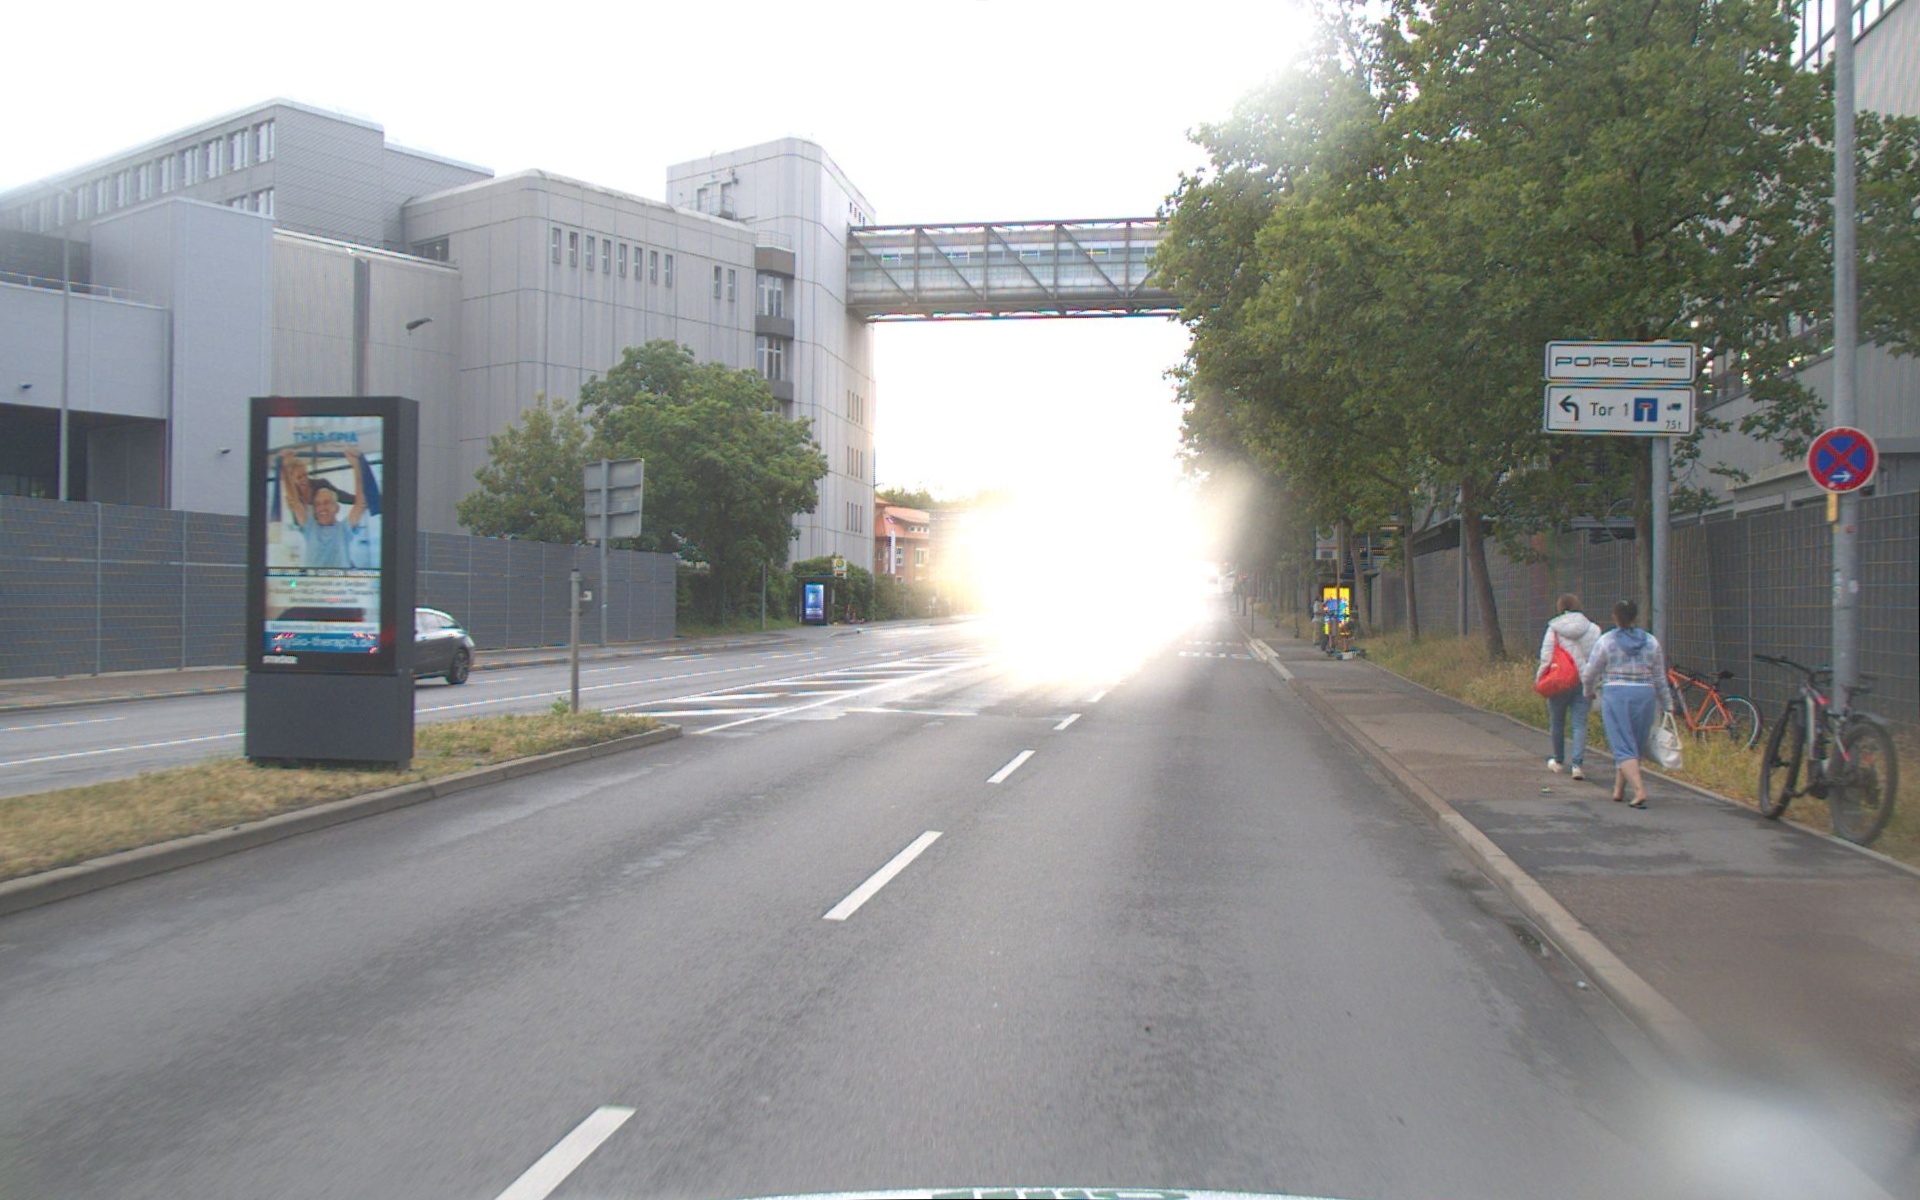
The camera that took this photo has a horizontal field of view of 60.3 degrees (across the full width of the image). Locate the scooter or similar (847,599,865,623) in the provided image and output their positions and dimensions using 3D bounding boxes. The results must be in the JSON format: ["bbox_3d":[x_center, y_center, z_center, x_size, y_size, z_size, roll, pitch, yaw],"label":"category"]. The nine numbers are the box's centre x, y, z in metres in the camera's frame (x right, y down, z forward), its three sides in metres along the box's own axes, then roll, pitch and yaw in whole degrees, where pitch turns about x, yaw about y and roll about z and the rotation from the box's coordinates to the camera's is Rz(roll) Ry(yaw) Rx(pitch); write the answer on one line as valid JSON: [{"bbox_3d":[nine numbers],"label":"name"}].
[{"bbox_3d":[-5.751,0.605,91.441,0.487,1.274,1.923,0,0,13],"label":"scooter or similar"}]

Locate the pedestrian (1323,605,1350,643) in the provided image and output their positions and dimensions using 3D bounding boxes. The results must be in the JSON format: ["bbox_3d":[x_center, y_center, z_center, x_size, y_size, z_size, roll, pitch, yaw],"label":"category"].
[{"bbox_3d":[13.718,0.870,60.281,0.930,1.340,0.686,0,0,15],"label":"pedestrian"}]

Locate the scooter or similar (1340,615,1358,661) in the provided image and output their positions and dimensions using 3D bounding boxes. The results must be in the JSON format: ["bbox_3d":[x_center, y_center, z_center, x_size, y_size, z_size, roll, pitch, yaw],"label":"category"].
[{"bbox_3d":[10.623,1.031,45.168,0.380,1.248,1.074,0,0,9],"label":"scooter or similar"}]

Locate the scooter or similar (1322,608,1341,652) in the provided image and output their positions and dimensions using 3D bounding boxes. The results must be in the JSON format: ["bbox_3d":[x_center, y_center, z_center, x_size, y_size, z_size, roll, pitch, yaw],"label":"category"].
[{"bbox_3d":[11.395,0.921,50.778,0.465,1.315,1.435,0,0,9],"label":"scooter or similar"}]

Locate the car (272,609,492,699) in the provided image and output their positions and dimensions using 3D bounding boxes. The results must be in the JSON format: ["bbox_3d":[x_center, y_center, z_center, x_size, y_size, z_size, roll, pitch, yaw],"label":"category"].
[{"bbox_3d":[-10.156,0.898,29.464,1.745,1.409,4.550,-2,0,9],"label":"car"}]

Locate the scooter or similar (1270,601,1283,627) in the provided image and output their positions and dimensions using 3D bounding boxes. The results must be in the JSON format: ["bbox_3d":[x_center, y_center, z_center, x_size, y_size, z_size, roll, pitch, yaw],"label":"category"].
[{"bbox_3d":[17.347,0.758,90.603,0.596,1.390,1.923,0,0,13],"label":"scooter or similar"}]

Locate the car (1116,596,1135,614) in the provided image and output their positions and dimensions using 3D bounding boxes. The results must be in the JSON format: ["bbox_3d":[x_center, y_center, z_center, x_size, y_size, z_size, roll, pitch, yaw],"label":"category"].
[{"bbox_3d":[17.229,0.516,172.604,1.951,1.803,4.002,0,0,5],"label":"car"}]

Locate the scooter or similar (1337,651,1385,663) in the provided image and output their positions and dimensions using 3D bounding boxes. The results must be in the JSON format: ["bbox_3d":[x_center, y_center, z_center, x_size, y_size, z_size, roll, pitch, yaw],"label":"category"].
[{"bbox_3d":[10.602,1.512,43.759,0.641,0.251,1.519,0,0,-13],"label":"scooter or similar"}]

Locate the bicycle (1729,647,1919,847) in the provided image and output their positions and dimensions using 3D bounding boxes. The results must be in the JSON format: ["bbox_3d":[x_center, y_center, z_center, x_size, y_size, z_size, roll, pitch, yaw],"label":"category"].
[{"bbox_3d":[5.639,0.908,10.885,0.334,1.138,1.974,0,0,3],"label":"bicycle"}]

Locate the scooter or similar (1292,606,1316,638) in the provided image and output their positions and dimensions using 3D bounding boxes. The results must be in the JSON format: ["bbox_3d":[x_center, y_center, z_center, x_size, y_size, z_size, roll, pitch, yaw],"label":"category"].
[{"bbox_3d":[14.190,0.898,68.226,0.684,1.266,1.921,0,0,20],"label":"scooter or similar"}]

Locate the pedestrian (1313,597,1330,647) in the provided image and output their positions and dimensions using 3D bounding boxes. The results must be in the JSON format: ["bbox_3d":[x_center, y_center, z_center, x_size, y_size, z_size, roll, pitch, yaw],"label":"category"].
[{"bbox_3d":[12.356,0.732,56.534,0.471,1.696,0.662,0,0,6],"label":"pedestrian"}]

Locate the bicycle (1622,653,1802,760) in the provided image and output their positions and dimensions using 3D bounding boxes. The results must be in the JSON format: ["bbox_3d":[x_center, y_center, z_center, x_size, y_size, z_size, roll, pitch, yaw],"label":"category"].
[{"bbox_3d":[7.604,1.055,16.794,0.506,0.970,1.684,0,0,-31],"label":"bicycle"}]

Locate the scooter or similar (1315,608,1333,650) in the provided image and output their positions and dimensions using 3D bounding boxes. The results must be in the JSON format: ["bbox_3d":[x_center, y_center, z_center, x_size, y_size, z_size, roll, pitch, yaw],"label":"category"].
[{"bbox_3d":[11.682,0.913,53.085,0.492,1.315,1.435,0,0,9],"label":"scooter or similar"}]

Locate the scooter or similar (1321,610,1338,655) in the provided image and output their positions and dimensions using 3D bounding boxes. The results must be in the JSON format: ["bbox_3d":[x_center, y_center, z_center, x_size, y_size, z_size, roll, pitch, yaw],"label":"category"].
[{"bbox_3d":[10.838,0.939,48.520,0.424,1.292,1.195,0,0,9],"label":"scooter or similar"}]

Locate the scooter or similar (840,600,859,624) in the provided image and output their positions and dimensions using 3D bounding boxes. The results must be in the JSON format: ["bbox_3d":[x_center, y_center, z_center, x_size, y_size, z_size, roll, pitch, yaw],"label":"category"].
[{"bbox_3d":[-5.966,0.631,89.452,0.513,1.274,1.801,0,0,13],"label":"scooter or similar"}]

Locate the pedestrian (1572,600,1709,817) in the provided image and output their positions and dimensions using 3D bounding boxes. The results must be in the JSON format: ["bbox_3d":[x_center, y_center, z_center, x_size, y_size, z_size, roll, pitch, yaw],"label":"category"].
[{"bbox_3d":[5.050,0.775,12.325,0.813,1.547,0.842,0,0,13],"label":"pedestrian"}]

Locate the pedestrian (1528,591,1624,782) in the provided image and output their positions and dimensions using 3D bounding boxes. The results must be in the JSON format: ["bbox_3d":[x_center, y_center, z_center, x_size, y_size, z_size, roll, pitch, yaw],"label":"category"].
[{"bbox_3d":[5.422,0.736,14.591,0.694,1.620,0.841,0,0,13],"label":"pedestrian"}]

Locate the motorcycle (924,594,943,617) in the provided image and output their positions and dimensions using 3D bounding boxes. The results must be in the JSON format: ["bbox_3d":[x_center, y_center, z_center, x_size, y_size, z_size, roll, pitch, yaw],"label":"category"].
[{"bbox_3d":[-1.877,0.397,118.559,0.938,1.583,3.302,0,0,6],"label":"motorcycle"}]

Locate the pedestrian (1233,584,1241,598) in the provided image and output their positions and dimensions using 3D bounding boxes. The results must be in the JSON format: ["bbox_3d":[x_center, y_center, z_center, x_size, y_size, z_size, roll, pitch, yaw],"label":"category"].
[{"bbox_3d":[41.897,-1.339,250.328,1.035,2.049,1.151,0,0,20],"label":"pedestrian"}]

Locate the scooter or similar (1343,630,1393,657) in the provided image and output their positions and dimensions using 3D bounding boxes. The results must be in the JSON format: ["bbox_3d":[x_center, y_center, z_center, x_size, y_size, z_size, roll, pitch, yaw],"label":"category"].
[{"bbox_3d":[11.810,1.245,47.918,0.643,0.726,1.514,0,0,-22],"label":"scooter or similar"}]

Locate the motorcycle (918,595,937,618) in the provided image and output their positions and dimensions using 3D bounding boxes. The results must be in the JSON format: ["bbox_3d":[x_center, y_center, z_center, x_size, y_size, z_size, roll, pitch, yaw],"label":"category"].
[{"bbox_3d":[-2.266,0.431,114.575,0.894,1.559,3.302,0,0,7],"label":"motorcycle"}]

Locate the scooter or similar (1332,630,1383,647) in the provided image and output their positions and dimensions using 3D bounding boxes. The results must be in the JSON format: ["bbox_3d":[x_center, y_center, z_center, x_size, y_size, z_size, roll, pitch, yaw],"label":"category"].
[{"bbox_3d":[13.005,1.251,54.088,1.530,0.528,0.643,0,0,25],"label":"scooter or similar"}]
